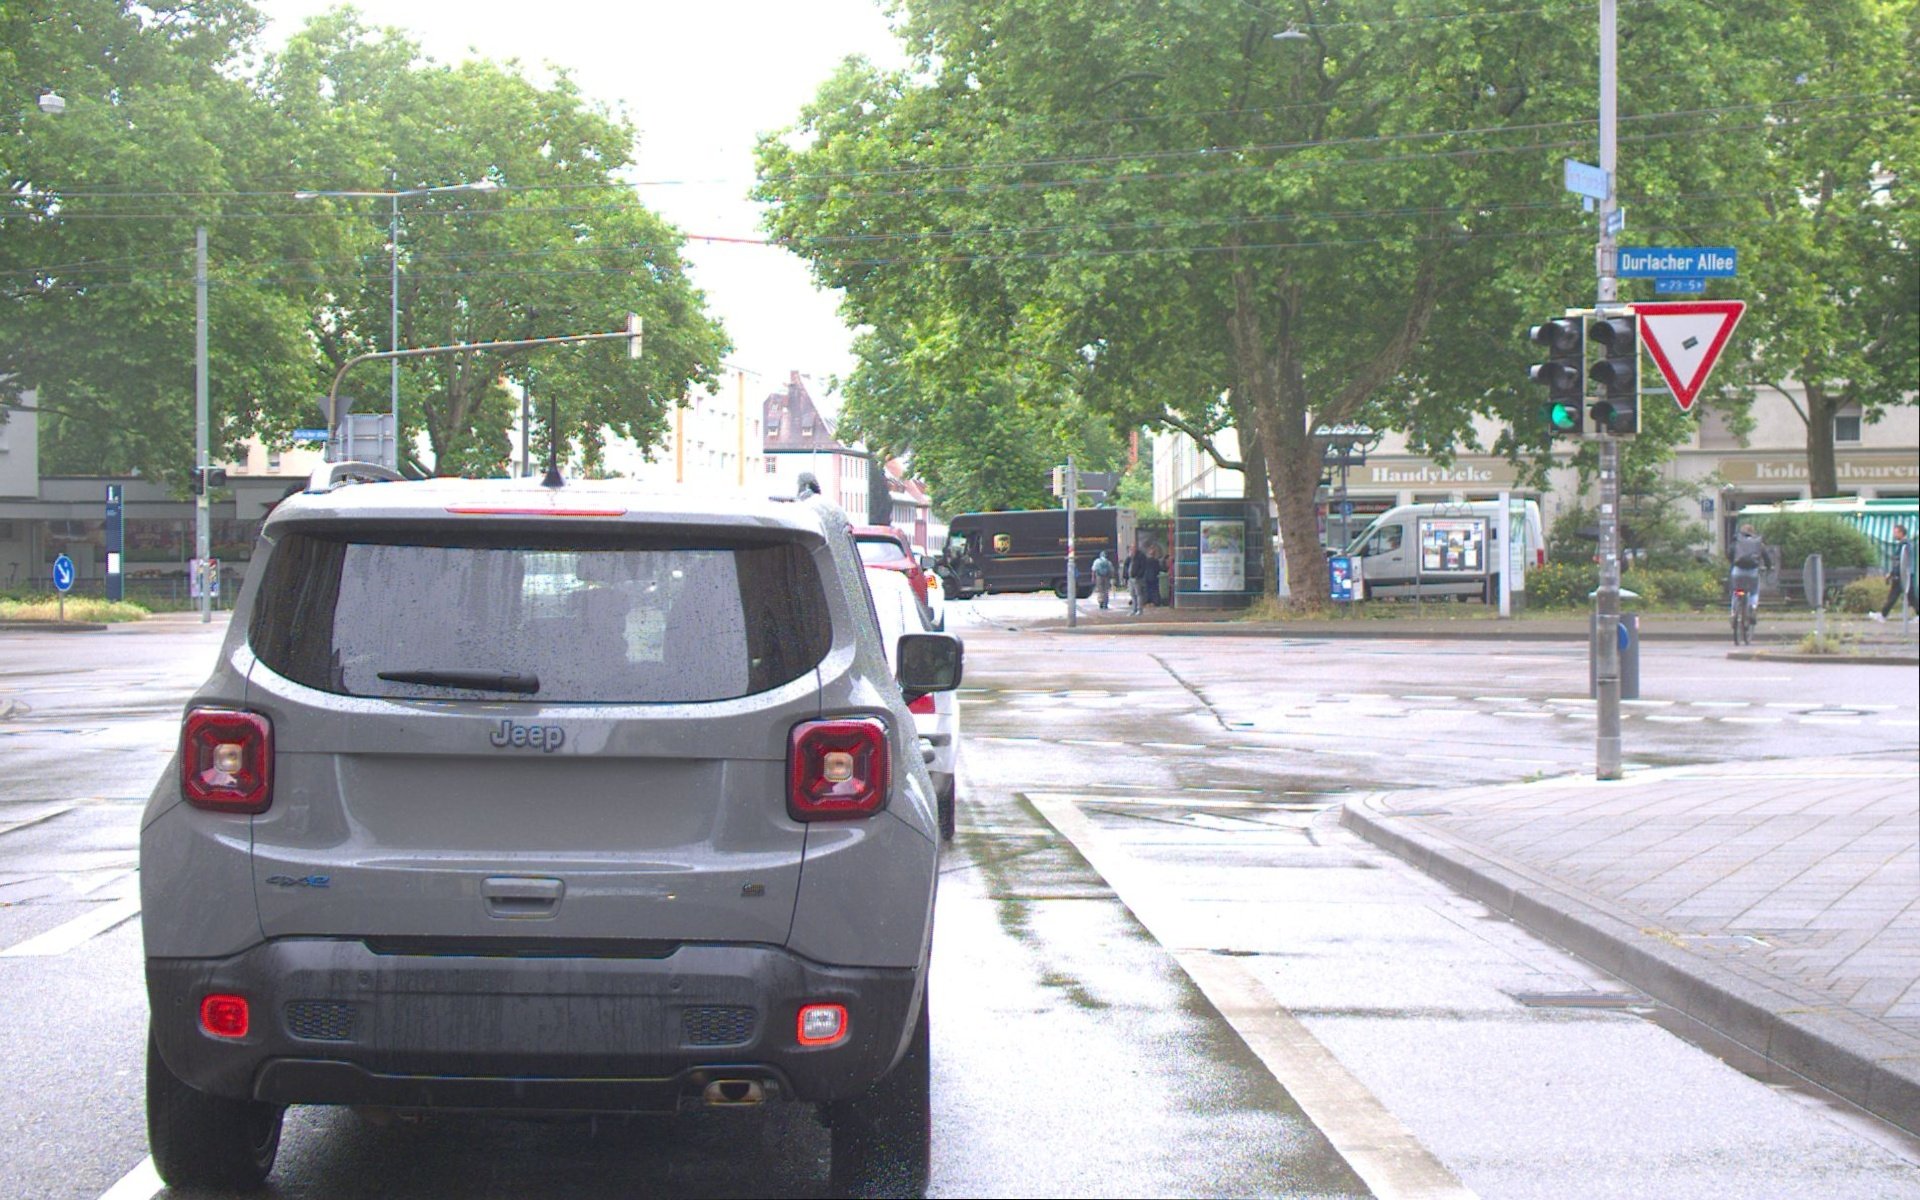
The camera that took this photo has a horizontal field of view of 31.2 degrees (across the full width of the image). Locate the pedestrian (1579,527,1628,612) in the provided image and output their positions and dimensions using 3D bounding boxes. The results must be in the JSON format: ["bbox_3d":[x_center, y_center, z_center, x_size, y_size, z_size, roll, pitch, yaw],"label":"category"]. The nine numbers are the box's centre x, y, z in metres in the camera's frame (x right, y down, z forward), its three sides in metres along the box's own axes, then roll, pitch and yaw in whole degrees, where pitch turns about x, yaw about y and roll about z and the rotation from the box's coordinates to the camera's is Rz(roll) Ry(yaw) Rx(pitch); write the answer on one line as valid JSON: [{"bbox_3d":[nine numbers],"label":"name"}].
[{"bbox_3d":[11.788,-0.554,62.966,0.674,1.548,0.760,0,-1,28],"label":"pedestrian"}]

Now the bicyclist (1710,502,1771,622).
[{"bbox_3d":[10.646,-0.524,46.868,0.687,1.612,0.883,-1,1,19],"label":"bicyclist"}]

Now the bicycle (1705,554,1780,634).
[{"bbox_3d":[10.714,-0.092,47.030,0.692,1.018,2.655,-1,1,19],"label":"bicycle"}]

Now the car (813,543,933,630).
[{"bbox_3d":[-1.324,-0.227,51.227,1.592,1.247,3.575,0,1,-5],"label":"car"}]

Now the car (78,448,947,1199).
[{"bbox_3d":[-0.985,0.507,9.116,1.775,1.681,3.848,-1,1,-2],"label":"car"}]

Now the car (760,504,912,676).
[{"bbox_3d":[-1.487,-0.152,42.284,1.770,2.007,4.000,0,1,-1],"label":"car"}]

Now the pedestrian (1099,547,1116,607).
[{"bbox_3d":[4.199,-0.654,97.943,0.458,1.698,0.424,0,1,0],"label":"pedestrian"}]

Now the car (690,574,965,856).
[{"bbox_3d":[-0.687,0.563,18.831,1.363,1.371,3.312,0,1,-1],"label":"car"}]

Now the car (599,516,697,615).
[{"bbox_3d":[-5.655,-0.641,62.550,1.721,1.733,3.730,0,1,-5],"label":"car"}]

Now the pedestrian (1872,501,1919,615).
[{"bbox_3d":[16.591,-0.745,60.734,0.806,2.007,0.589,0,1,26],"label":"pedestrian"}]

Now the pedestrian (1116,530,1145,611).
[{"bbox_3d":[4.243,-0.739,85.390,0.651,2.007,0.482,0,1,12],"label":"pedestrian"}]

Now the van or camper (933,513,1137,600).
[{"bbox_3d":[2.552,-1.485,117.409,6.536,2.902,2.491,0,1,26],"label":"van or camper"}]

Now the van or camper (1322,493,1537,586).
[{"bbox_3d":[11.896,-1.540,87.403,5.260,2.307,2.090,0,1,3],"label":"van or camper"}]

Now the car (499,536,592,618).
[{"bbox_3d":[-8.698,-0.497,72.392,1.814,1.665,3.921,0,1,-5],"label":"car"}]
